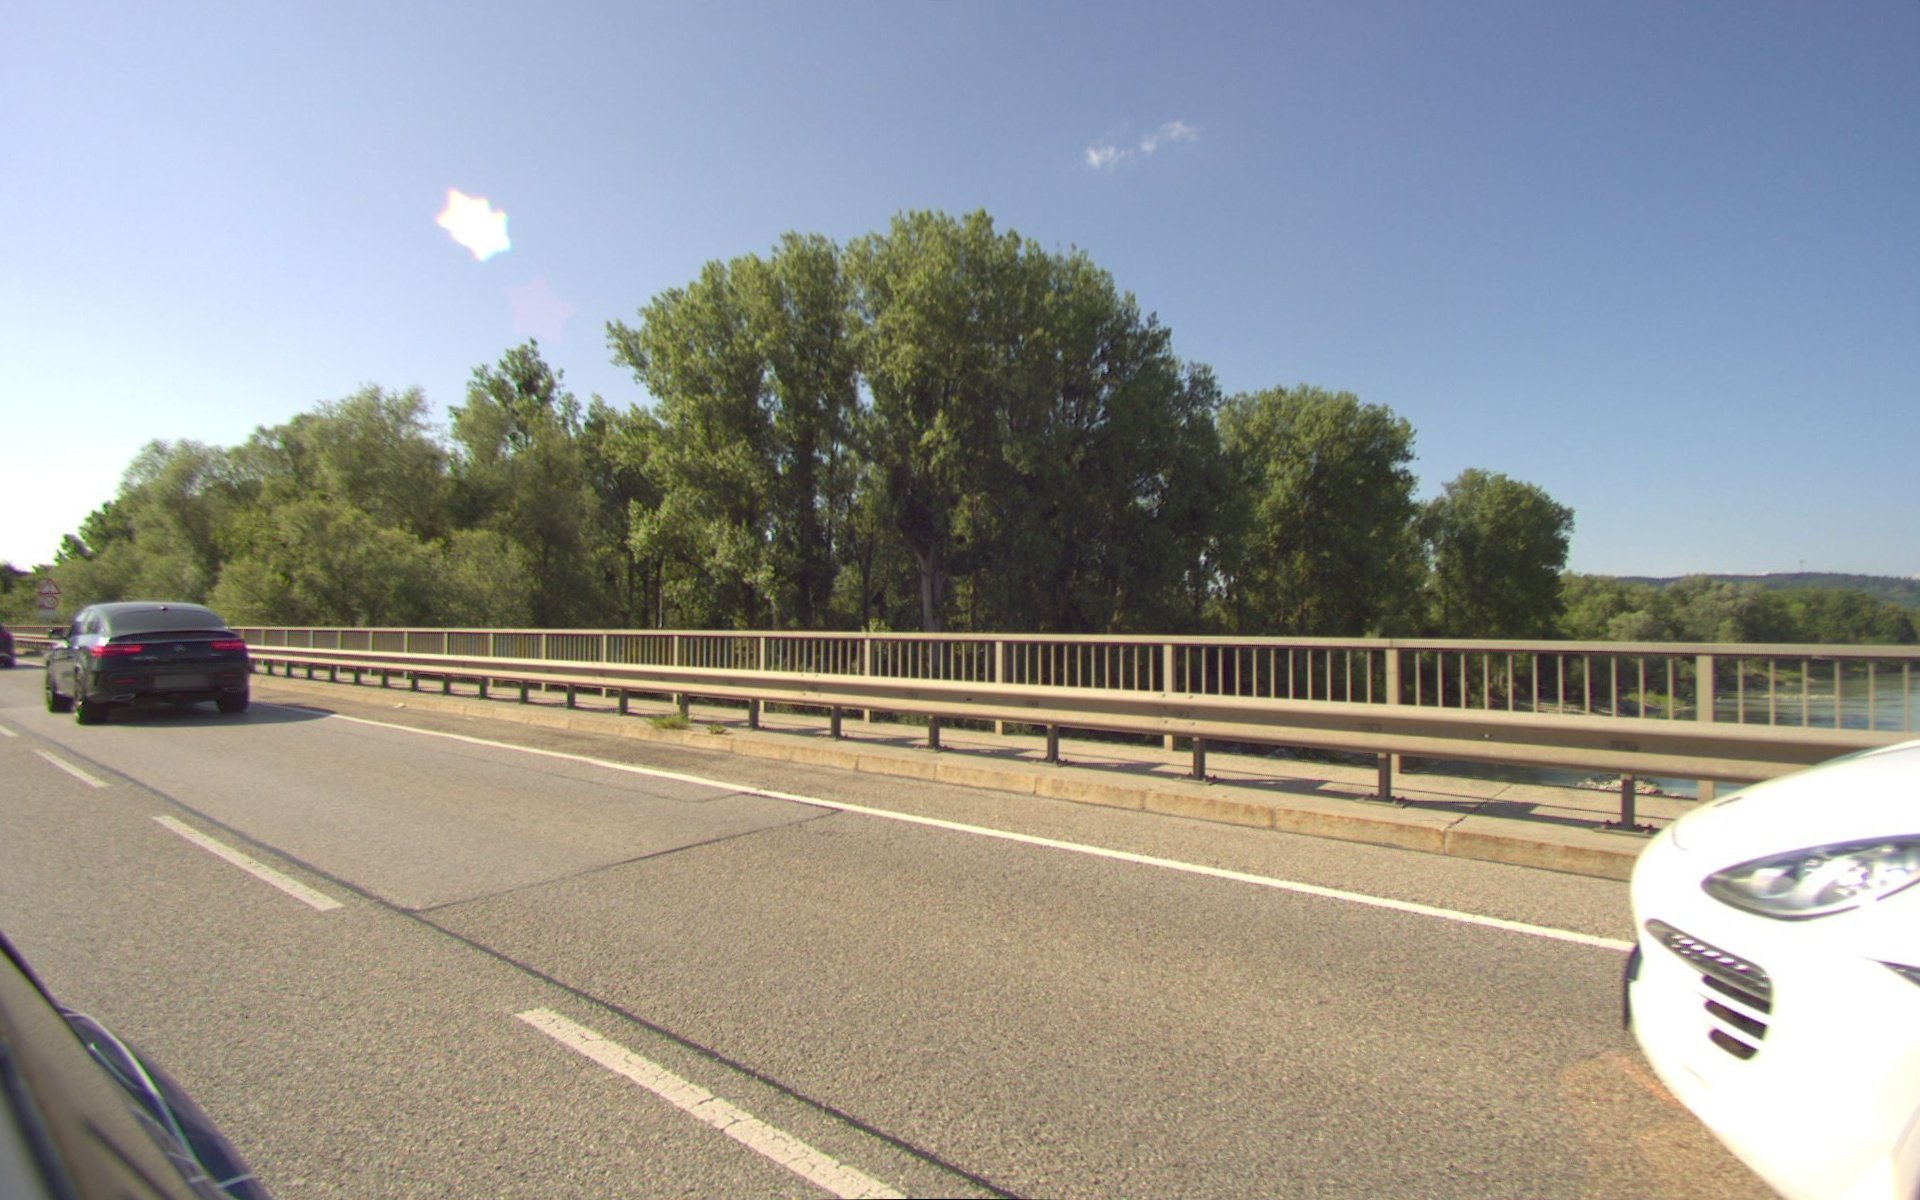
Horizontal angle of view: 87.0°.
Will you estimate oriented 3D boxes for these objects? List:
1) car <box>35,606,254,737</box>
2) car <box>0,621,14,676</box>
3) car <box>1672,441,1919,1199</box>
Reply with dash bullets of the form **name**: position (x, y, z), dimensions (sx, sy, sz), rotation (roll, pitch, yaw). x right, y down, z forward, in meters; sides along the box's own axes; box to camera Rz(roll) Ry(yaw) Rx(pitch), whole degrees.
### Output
- **car**: position (-12.678, 0.997, 15.634), dimensions (4.475, 1.706, 1.928), rotation (-2, -1, 42)
- **car**: position (-30.857, 1.506, 31.314), dimensions (4.429, 1.673, 1.784), rotation (-2, -2, 40)
- **car**: position (3.693, 0.518, 1.083), dimensions (4.595, 1.664, 1.962), rotation (-2, -1, 41)
